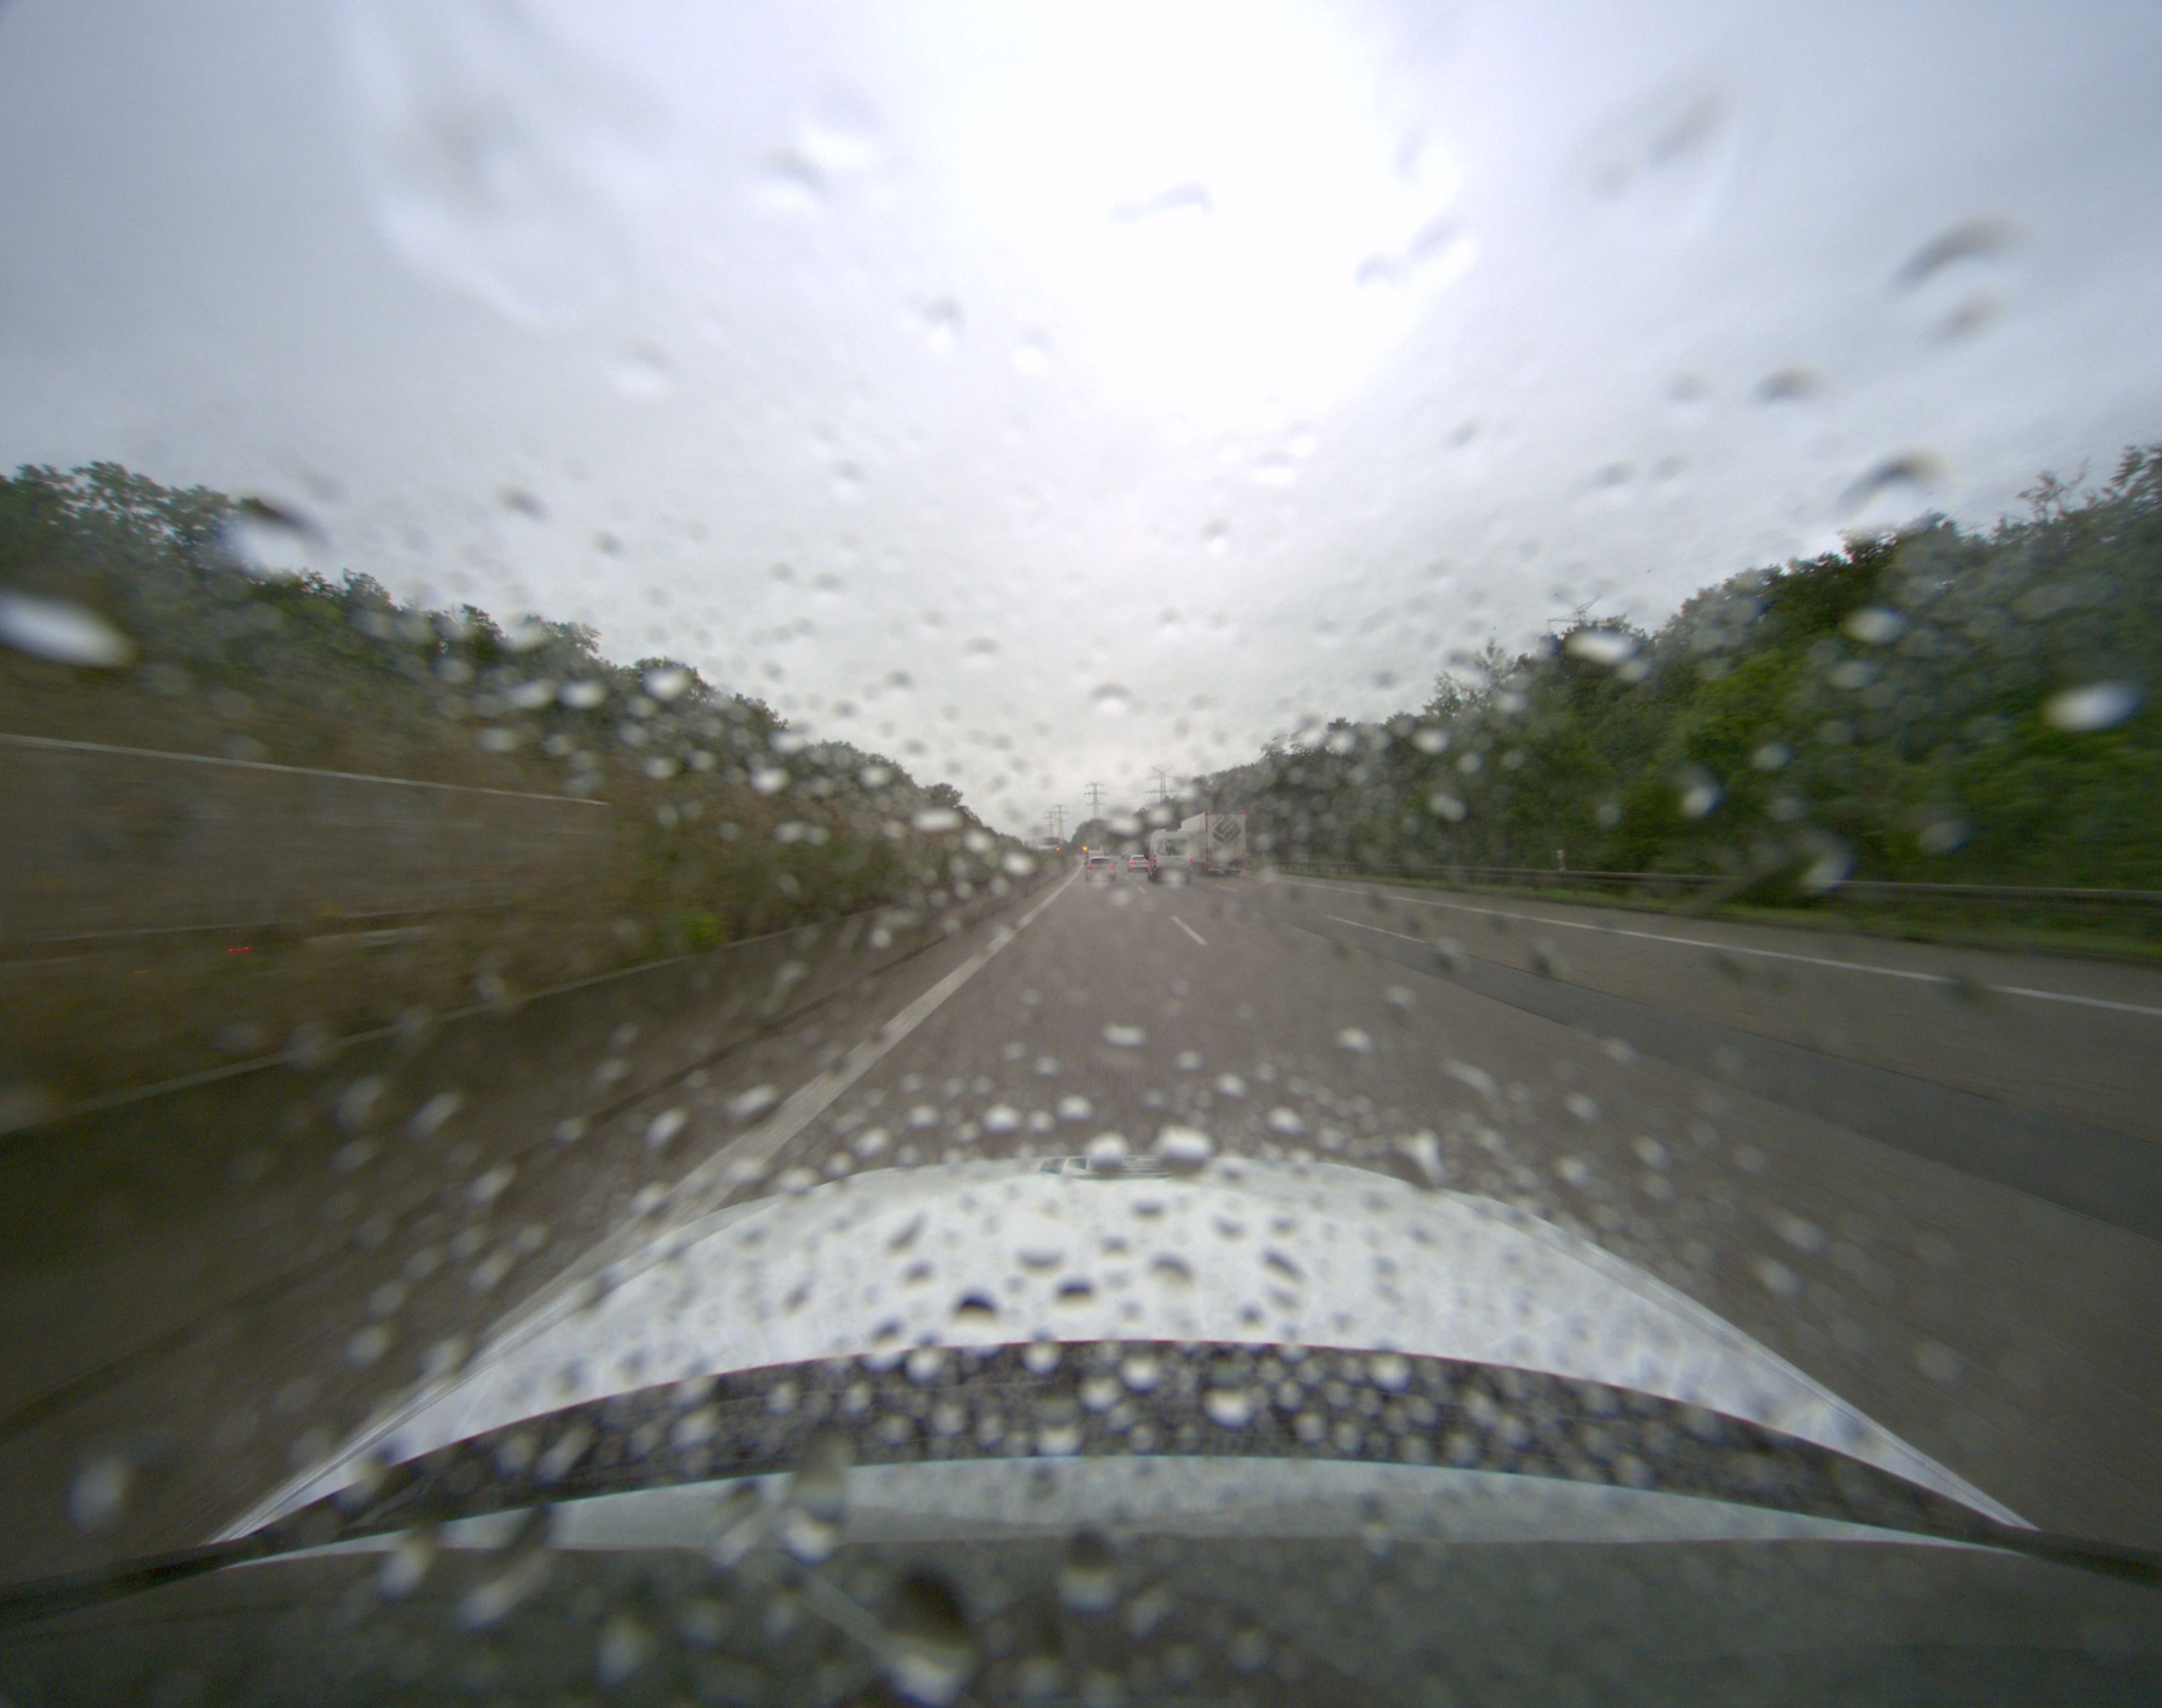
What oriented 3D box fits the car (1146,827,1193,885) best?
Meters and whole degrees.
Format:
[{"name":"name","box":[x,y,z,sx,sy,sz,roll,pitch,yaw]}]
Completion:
[{"name":"car","box":[4.640,0.098,43.255,1.987,2.864,3.999,-2,0,0]}]

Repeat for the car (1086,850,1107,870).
[{"name":"car","box":[1.527,0.570,78.862,1.838,1.772,4.004,-2,0,4]}]

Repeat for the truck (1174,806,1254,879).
[{"name":"truck","box":[8.849,-0.639,56.150,3.590,4.332,13.203,-2,-1,1]}]

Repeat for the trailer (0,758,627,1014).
[{"name":"trailer","box":[-15.378,0.495,17.866,2.977,3.485,13.259,-2,0,1]}]

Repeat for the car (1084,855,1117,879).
[{"name":"car","box":[1.155,0.734,48.205,1.859,1.288,4.002,-1,0,2]}]

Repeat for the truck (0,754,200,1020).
[{"name":"truck","box":[-15.581,0.485,10.529,2.981,3.467,4.772,-2,0,2]}]

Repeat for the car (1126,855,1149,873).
[{"name":"car","box":[4.822,0.798,69.242,1.848,1.422,4.005,-1,0,5]}]

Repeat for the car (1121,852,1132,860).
[{"name":"car","box":[9.447,0.358,168.737,1.985,1.486,4.004,-4,-1,3]}]
